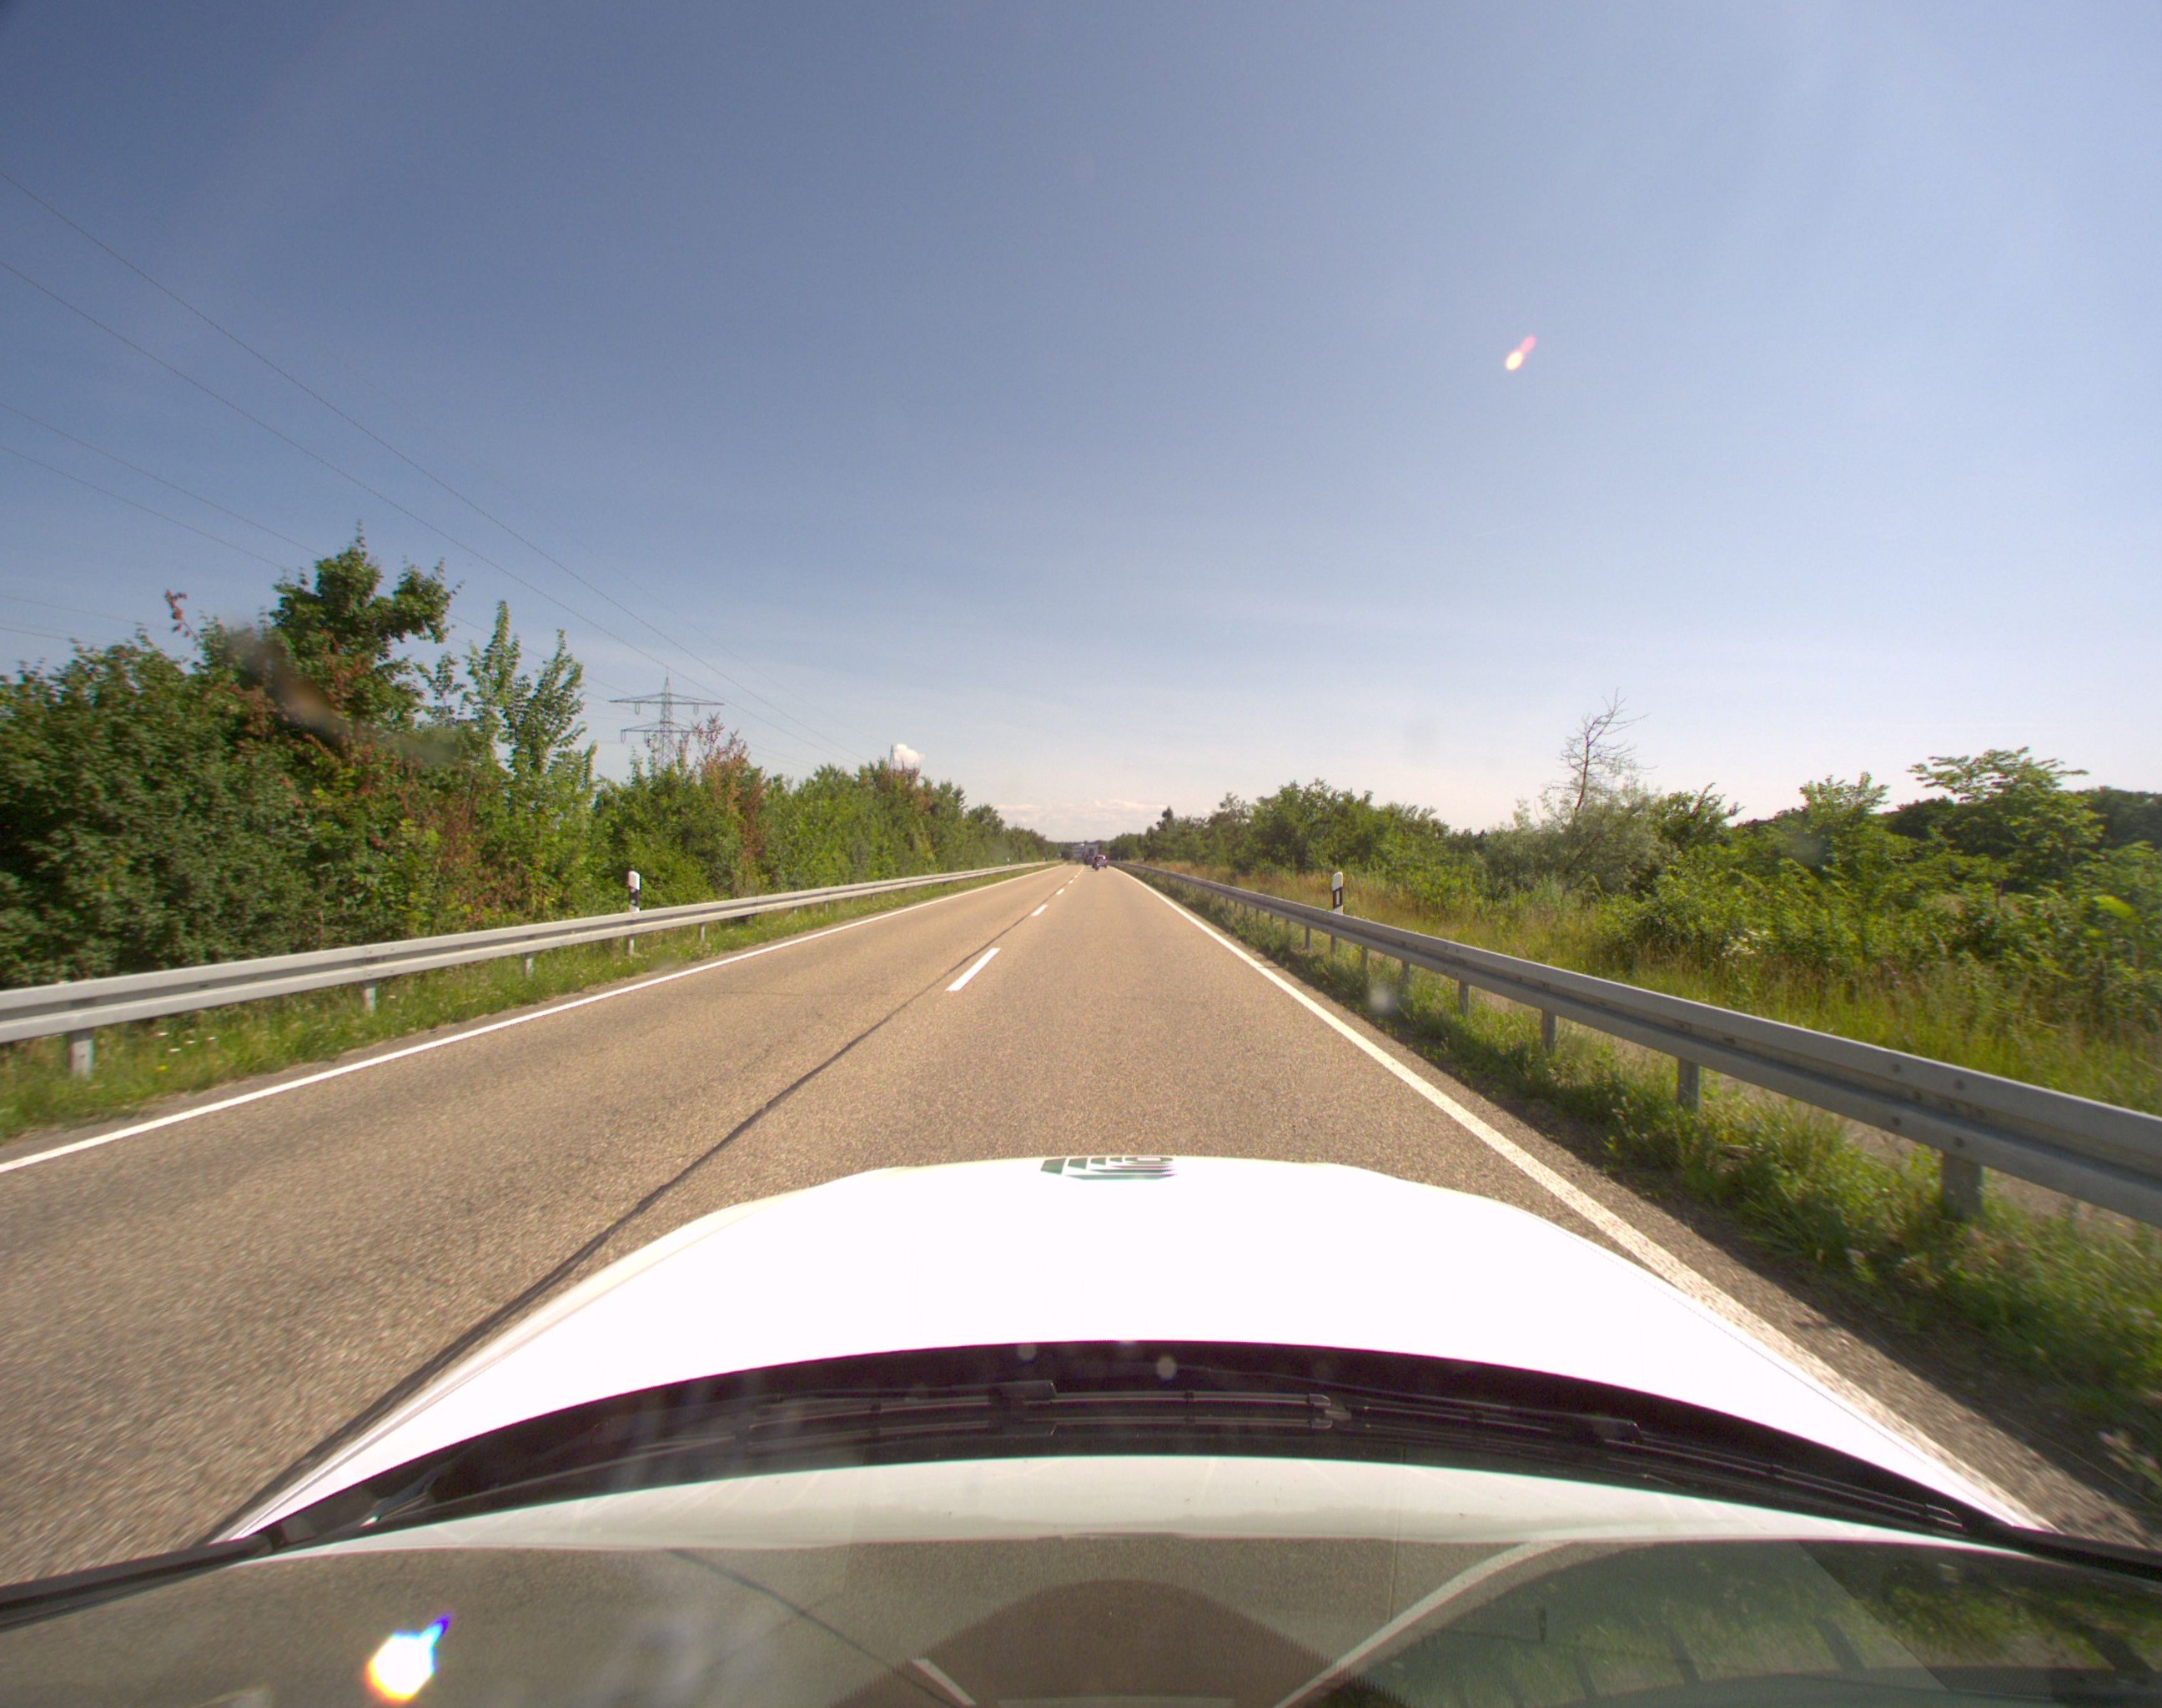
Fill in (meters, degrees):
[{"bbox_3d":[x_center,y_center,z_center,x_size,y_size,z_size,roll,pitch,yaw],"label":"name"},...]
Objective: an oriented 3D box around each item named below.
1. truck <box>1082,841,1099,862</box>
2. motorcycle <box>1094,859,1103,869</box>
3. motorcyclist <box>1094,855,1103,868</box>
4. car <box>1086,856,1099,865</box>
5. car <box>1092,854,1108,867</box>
[{"bbox_3d":[1.914,-0.441,160.782,3.231,3.978,9.443,0,0,0],"label":"truck"},{"bbox_3d":[1.733,0.994,80.397,0.777,0.975,2.364,0,1,4],"label":"motorcycle"},{"bbox_3d":[1.743,0.728,80.413,0.777,1.325,0.814,0,1,4],"label":"motorcyclist"},{"bbox_3d":[1.909,1.039,133.923,1.858,1.420,4.005,0,1,4],"label":"car"},{"bbox_3d":[2.342,0.822,100.840,1.819,1.451,4.000,0,1,0],"label":"car"}]
